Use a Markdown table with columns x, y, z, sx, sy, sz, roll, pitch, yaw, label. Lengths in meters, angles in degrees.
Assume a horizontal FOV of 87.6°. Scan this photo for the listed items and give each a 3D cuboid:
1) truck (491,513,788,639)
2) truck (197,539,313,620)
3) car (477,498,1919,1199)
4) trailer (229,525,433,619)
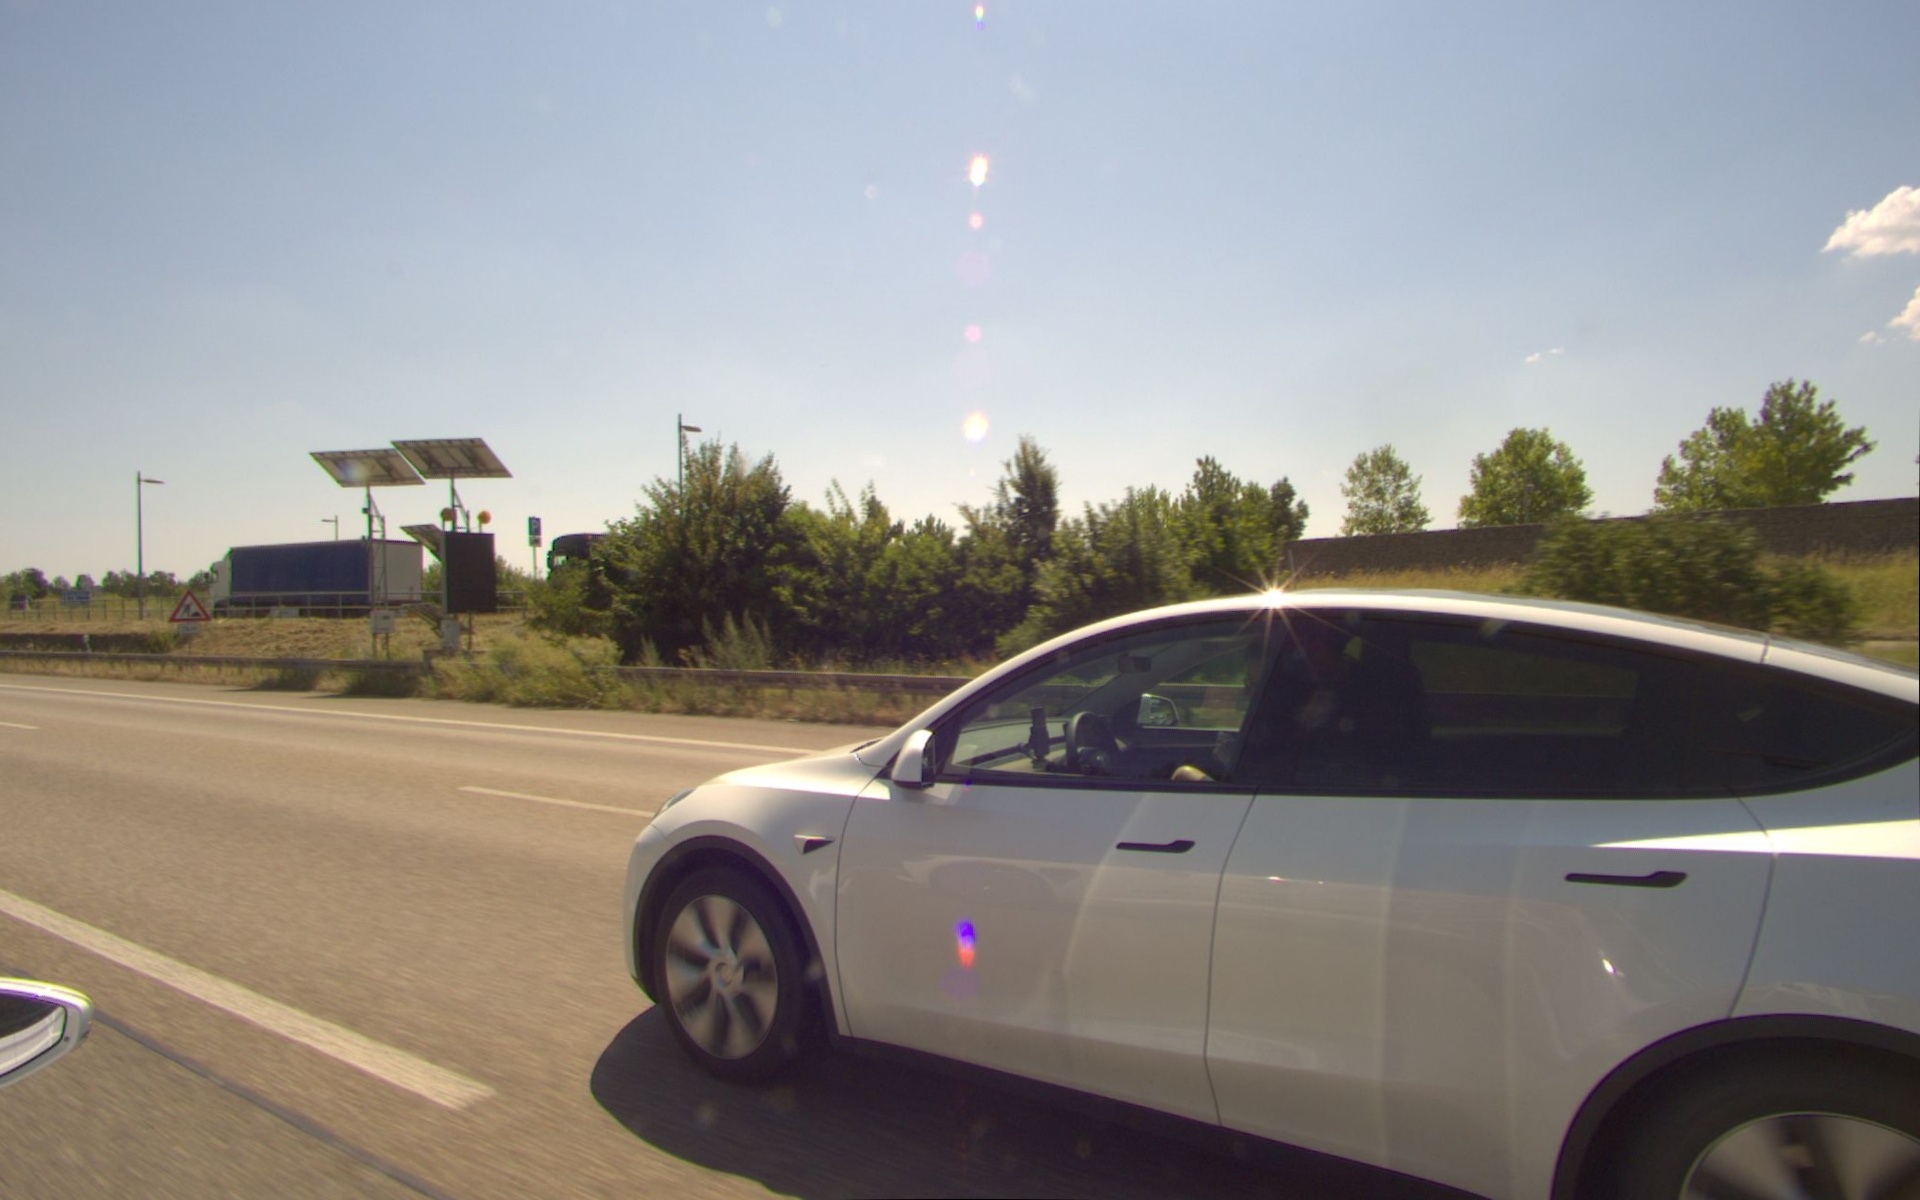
| x | y | z | sx | sy | sz | roll | pitch | yaw | label |
| --- | --- | --- | --- | --- | --- | --- | --- | --- | --- |
| -12.343 | -0.591 | 37.796 | 12.344 | 4.135 | 3.781 | -2 | -2 | 33 | truck |
| -39.176 | -1.030 | 55.610 | 6.306 | 4.135 | 3.048 | -1 | -2 | 32 | truck |
| 1.002 | 0.716 | 3.233 | 5.519 | 1.657 | 1.948 | -1 | -2 | 31 | car |
| -32.567 | -1.206 | 51.462 | 14.054 | 4.135 | 3.048 | -1 | -2 | 32 | trailer |
